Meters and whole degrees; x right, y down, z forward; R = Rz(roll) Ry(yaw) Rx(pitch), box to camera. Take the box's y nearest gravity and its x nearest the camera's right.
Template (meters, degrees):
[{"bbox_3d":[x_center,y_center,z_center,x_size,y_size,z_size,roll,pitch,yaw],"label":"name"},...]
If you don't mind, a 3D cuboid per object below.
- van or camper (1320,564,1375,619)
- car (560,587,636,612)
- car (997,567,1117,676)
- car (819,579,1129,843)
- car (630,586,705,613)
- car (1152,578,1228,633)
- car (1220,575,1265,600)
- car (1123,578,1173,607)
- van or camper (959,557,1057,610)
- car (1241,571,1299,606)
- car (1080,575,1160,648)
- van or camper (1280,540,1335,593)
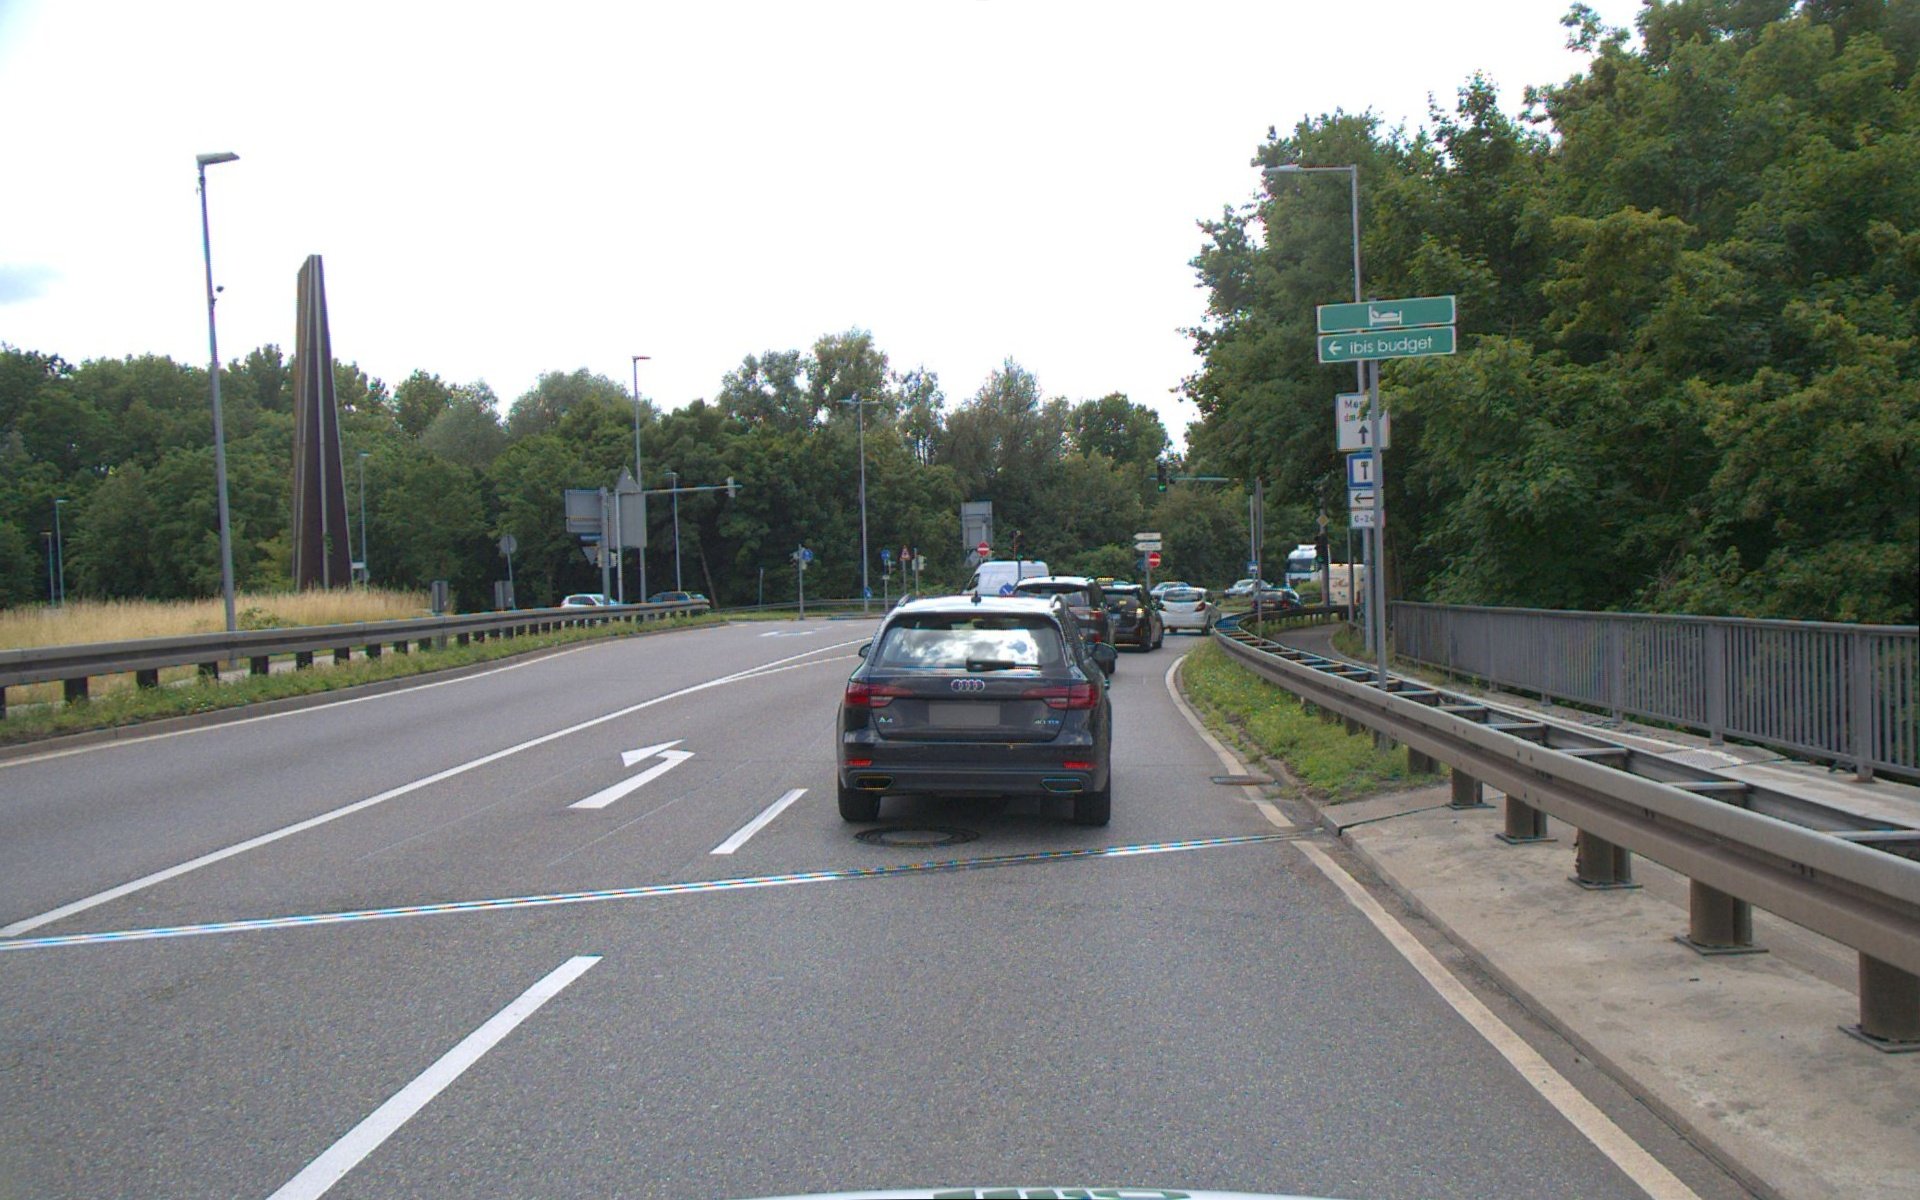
[{"bbox_3d":[19.433,-0.458,82.812,1.954,2.635,4.088,1,1,24],"label":"van or camper"},{"bbox_3d":[-17.262,-0.012,78.812,3.518,1.136,1.588,1,0,36],"label":"car"},{"bbox_3d":[1.688,0.310,27.631,1.782,1.680,3.859,1,1,7],"label":"car"},{"bbox_3d":[0.131,0.634,11.716,1.790,1.518,4.207,0,0,1],"label":"car"},{"bbox_3d":[-16.024,-0.035,90.621,3.719,1.395,1.673,1,2,18],"label":"car"},{"bbox_3d":[7.386,0.140,52.903,1.697,1.680,3.857,0,1,19],"label":"car"},{"bbox_3d":[19.065,-0.855,111.472,1.498,1.527,3.292,3,3,41],"label":"car"},{"bbox_3d":[11.496,-0.455,101.120,1.741,1.747,3.996,-1,0,27],"label":"car"},{"bbox_3d":[2.161,-0.784,76.463,2.248,2.381,5.191,0,1,-29],"label":"van or camper"},{"bbox_3d":[12.841,-0.473,68.357,1.649,1.422,3.678,0,0,22],"label":"car"},{"bbox_3d":[3.897,0.240,39.921,1.696,1.680,3.859,0,1,9],"label":"car"},{"bbox_3d":[25.718,-2.478,122.071,2.844,3.678,8.133,2,2,20],"label":"van or camper"}]
